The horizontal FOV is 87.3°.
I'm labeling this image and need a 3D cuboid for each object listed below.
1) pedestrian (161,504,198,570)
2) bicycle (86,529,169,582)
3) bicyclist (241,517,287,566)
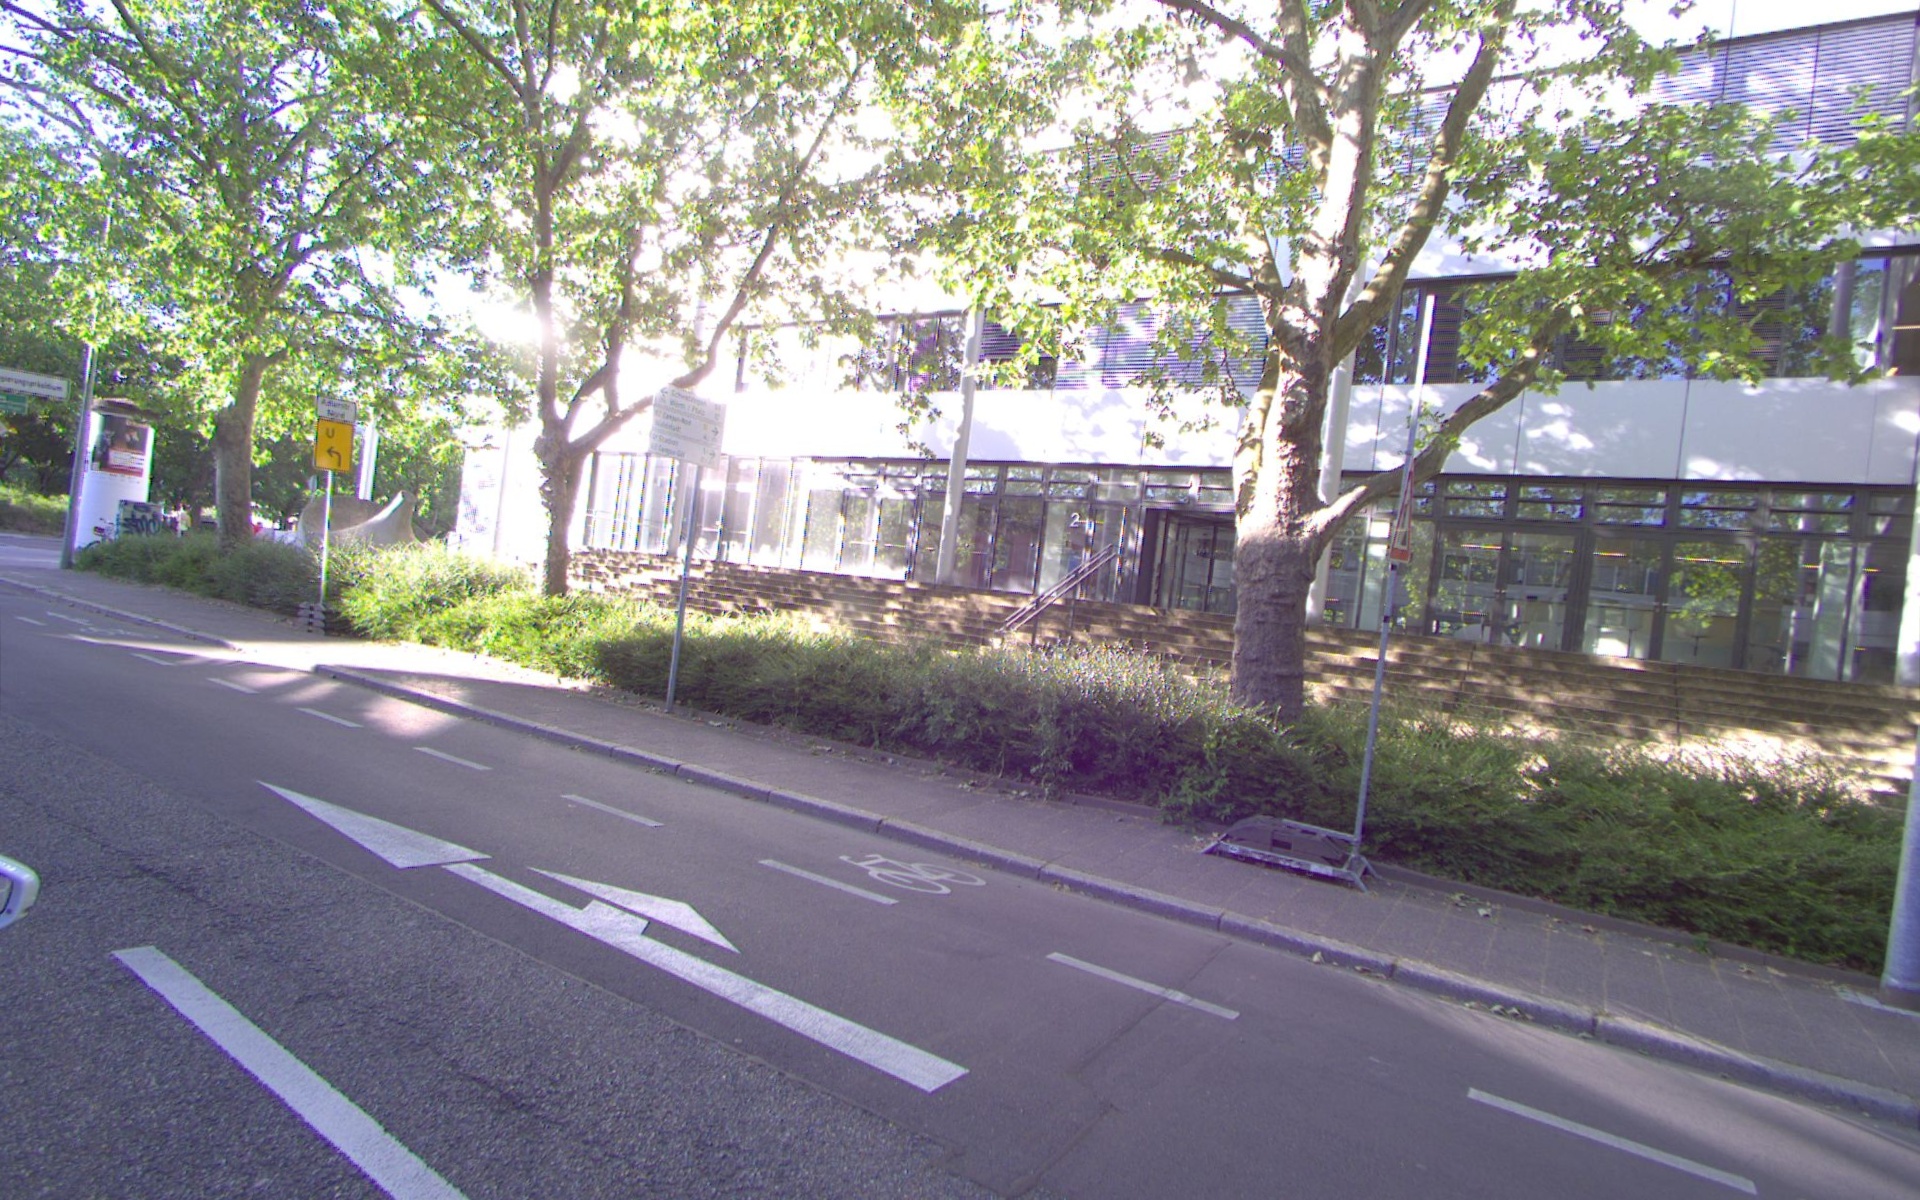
[{"bbox_3d":[-23.446,-1.887,30.218,0.584,1.871,0.552,7,0,33],"label":"pedestrian"},{"bbox_3d":[-19.210,-1.007,23.229,0.357,1.036,1.354,7,-1,33],"label":"bicycle"},{"bbox_3d":[-26.204,-2.209,37.894,0.754,1.634,1.040,11,2,33],"label":"bicyclist"}]
